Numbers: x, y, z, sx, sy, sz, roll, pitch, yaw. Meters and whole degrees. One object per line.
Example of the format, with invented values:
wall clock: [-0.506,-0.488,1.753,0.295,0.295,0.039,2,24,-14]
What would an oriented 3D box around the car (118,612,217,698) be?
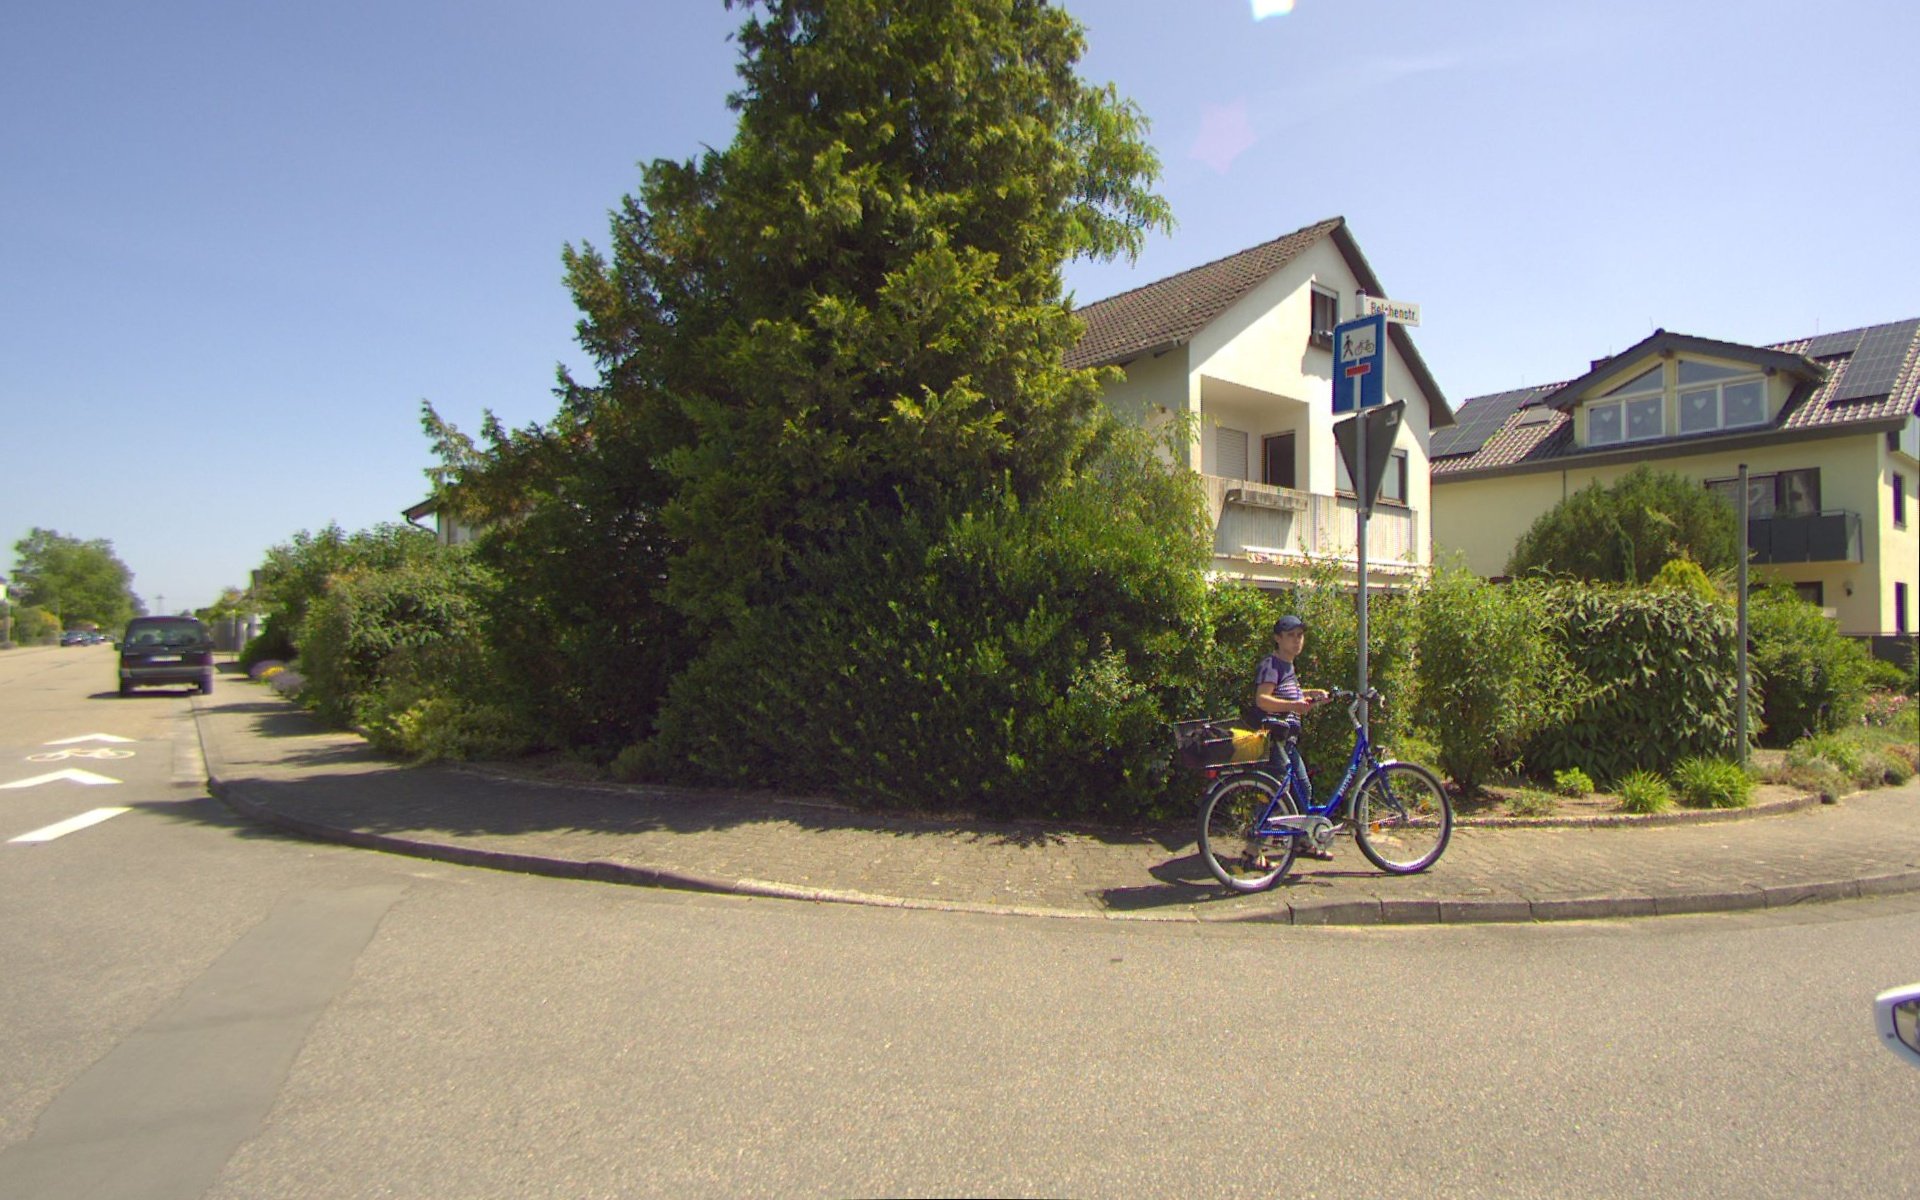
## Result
car: [-18.841,1.254,23.899,1.709,1.870,4.009,1,-2,-39]

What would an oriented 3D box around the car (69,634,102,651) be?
car: [-83.069,4.016,95.460,1.981,1.617,3.960,1,-2,-36]

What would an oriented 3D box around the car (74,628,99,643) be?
car: [-99.304,4.056,114.237,1.984,1.628,3.954,2,-2,-40]

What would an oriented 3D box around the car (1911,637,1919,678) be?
car: [35.948,2.045,35.009,1.832,1.439,3.950,2,-2,-42]

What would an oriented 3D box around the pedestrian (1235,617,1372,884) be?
pedestrian: [2.068,0.866,6.077,0.603,1.520,0.502,1,-1,-21]

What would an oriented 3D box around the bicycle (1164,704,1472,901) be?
bicycle: [2.107,1.136,5.878,1.820,0.976,0.441,1,-1,-19]
